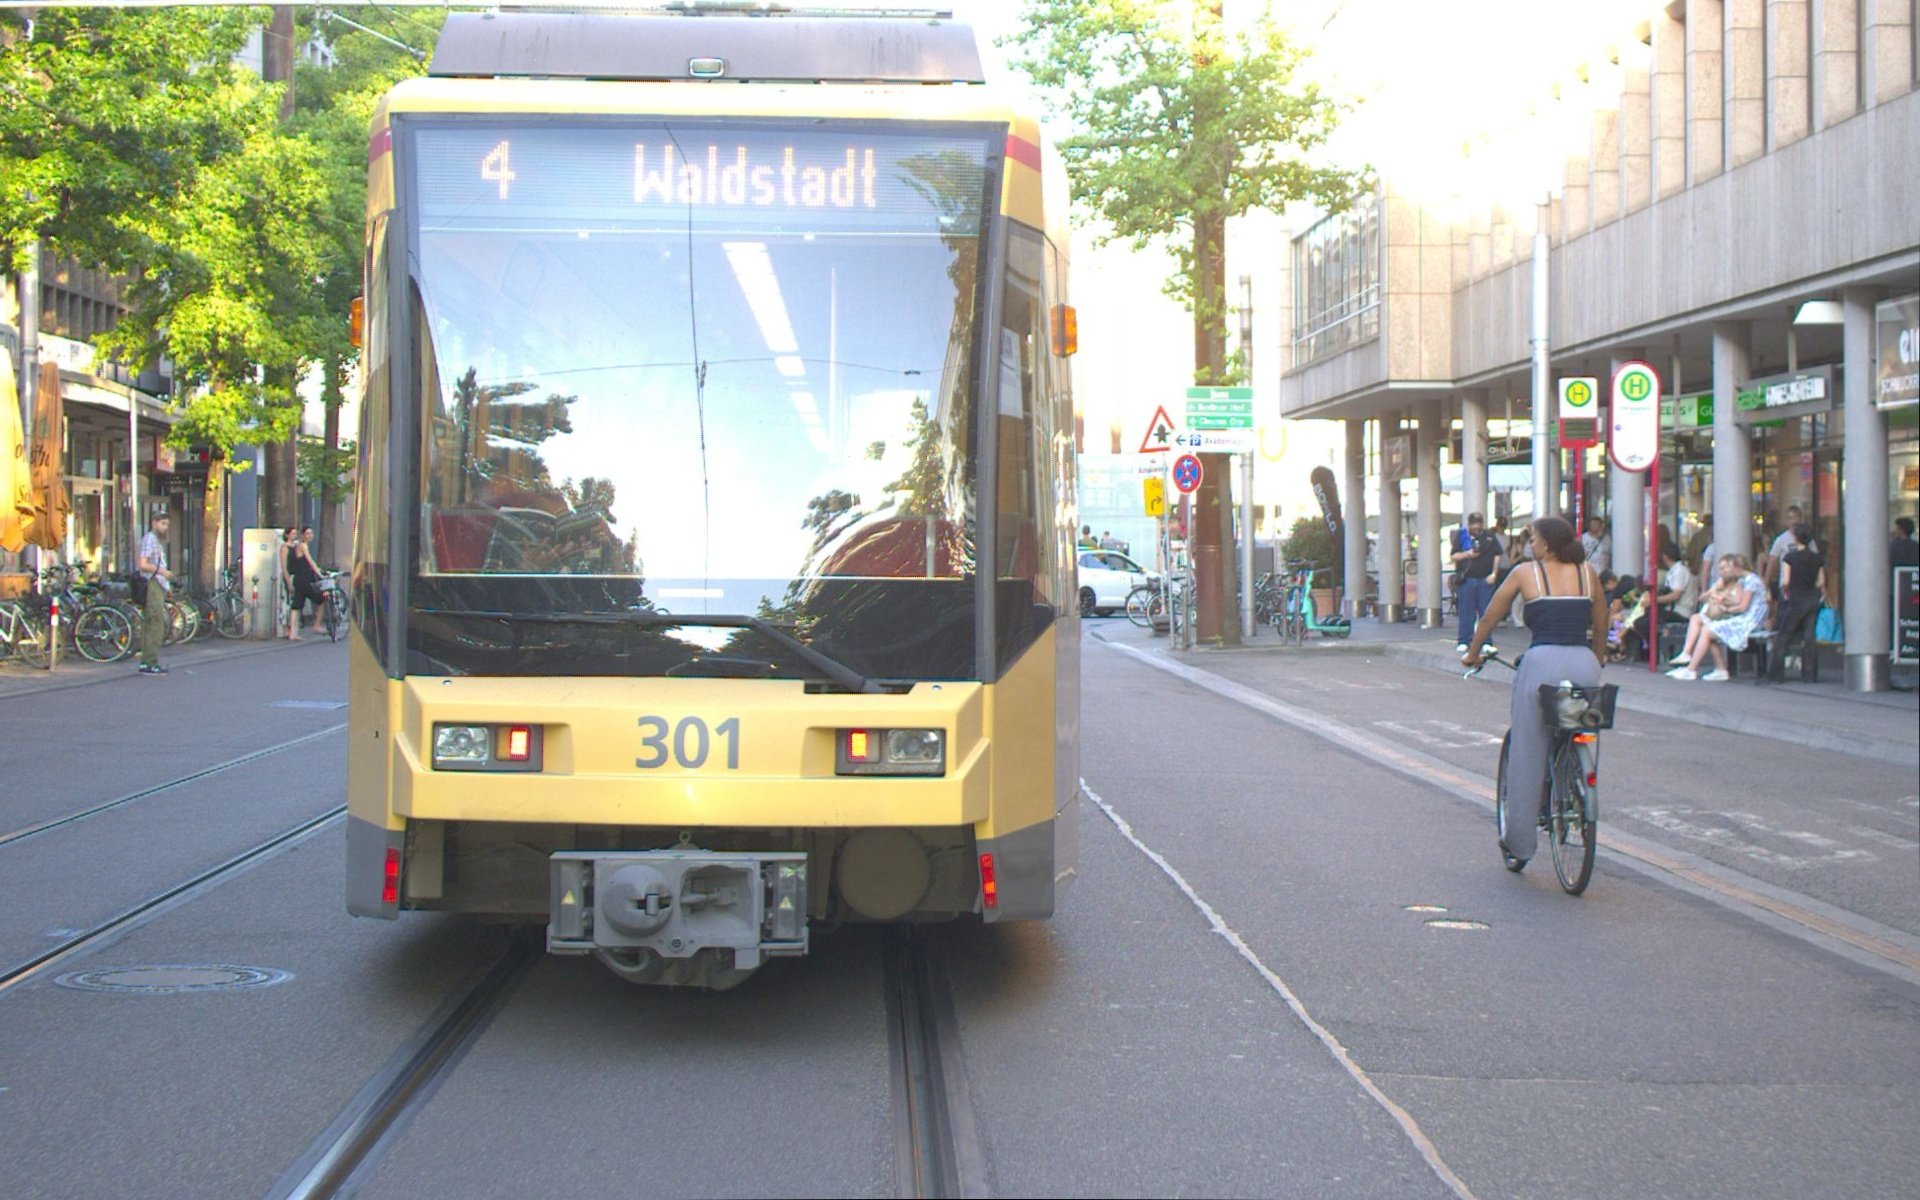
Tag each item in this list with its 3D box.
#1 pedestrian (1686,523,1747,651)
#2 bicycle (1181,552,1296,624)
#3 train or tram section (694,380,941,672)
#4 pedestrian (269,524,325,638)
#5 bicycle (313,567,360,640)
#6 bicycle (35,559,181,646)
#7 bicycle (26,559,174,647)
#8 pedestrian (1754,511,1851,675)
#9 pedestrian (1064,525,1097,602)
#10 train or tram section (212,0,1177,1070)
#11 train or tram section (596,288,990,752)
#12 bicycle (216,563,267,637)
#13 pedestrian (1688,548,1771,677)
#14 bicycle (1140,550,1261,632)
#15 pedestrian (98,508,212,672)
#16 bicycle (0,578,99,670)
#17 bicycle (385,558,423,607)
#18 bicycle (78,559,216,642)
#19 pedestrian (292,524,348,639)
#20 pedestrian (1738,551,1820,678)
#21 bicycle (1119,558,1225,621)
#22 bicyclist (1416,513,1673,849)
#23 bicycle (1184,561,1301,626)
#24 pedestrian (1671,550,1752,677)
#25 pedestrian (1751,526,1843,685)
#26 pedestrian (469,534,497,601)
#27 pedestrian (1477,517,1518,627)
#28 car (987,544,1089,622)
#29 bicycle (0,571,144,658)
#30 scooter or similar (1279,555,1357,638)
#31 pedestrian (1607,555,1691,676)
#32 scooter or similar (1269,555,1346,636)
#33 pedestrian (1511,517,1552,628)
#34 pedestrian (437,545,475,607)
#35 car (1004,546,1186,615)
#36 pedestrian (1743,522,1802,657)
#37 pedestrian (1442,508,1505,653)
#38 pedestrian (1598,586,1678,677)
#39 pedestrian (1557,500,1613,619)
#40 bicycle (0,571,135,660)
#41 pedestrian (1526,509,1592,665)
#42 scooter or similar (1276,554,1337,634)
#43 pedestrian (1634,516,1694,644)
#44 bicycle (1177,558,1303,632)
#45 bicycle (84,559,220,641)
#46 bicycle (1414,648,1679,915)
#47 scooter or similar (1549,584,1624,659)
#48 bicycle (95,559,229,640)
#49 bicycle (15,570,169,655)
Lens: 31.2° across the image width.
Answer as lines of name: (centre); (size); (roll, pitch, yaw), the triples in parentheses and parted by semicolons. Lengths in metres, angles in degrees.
pedestrian: (10.673, -0.188, 48.526); (0.663, 1.781, 0.719); (-1, 0, -1)
bicycle: (4.991, -0.217, 61.740); (1.914, 1.218, 0.763); (-2, 1, -6)
train or tram section: (-1.830, -0.980, 46.238); (2.800, 3.308, 14.510); (0, 1, -2)
pedestrian: (-9.934, -0.292, 51.531); (0.602, 1.693, 0.535); (1, 1, 28)
bicycle: (-9.289, 0.042, 51.223); (0.488, 1.041, 1.778); (1, 1, -4)
bicycle: (-11.118, 0.033, 44.907); (1.771, 1.067, 0.489); (2, 1, -7)
bicycle: (-11.085, 0.039, 44.330); (1.771, 1.067, 0.489); (2, 1, -7)
pedestrian: (9.379, -0.084, 38.294); (0.844, 1.791, 0.859); (-1, 0, -1)
pedestrian: (2.725, -0.823, 77.986); (0.718, 1.719, 0.709); (0, 0, 0)
train or tram section: (-0.981, -0.424, 17.268); (2.800, 3.308, 14.510); (0, 1, -2)
train or tram section: (-1.403, -0.705, 31.779); (2.800, 3.308, 14.510); (0, 1, -2)
bicycle: (-10.654, -0.007, 51.012); (0.488, 1.041, 1.778); (1, 1, -4)
pedestrian: (7.916, 0.123, 35.396); (0.718, 1.310, 0.524); (1, 0, 0)
bicycle: (4.113, -0.158, 58.865); (1.914, 1.328, 0.726); (-2, 1, -6)
pedestrian: (-8.921, -0.115, 38.103); (0.820, 1.786, 0.990); (0, 1, -45)
bicycle: (-10.479, 0.248, 38.095); (1.773, 0.962, 0.489); (2, 0, 16)
bicycle: (-13.152, -0.429, 81.370); (0.498, 1.104, 1.800); (0, 2, 4)
bicycle: (-11.192, 0.007, 47.367); (1.771, 1.067, 0.489); (2, 1, -7)
pedestrian: (-9.500, -0.281, 51.014); (0.602, 1.693, 0.535); (1, 1, 28)
pedestrian: (8.595, 0.148, 36.076); (0.718, 1.310, 0.532); (1, 0, 0)
bicycle: (3.878, -0.194, 63.050); (1.852, 1.105, 0.667); (-1, 1, -3)
bicyclist: (2.701, 0.360, 15.991); (0.997, 1.497, 0.857); (2, 1, -1)
bicycle: (5.005, -0.120, 60.995); (1.914, 1.074, 0.763); (-2, 1, -6)
pedestrian: (7.857, 0.139, 35.954); (0.718, 1.310, 0.532); (1, 0, 0)
pedestrian: (8.347, 0.050, 34.304); (0.724, 1.565, 0.736); (-1, 0, 1)
pedestrian: (-10.614, -0.716, 76.472); (0.603, 1.489, 0.555); (0, 0, -9)
pedestrian: (8.865, -0.463, 56.679); (0.539, 1.800, 0.604); (-1, 1, -2)
car: (1.440, -0.304, 64.751); (1.769, 1.404, 4.052); (1, 0, -1)
bicycle: (-10.713, 0.172, 41.151); (1.771, 0.986, 0.489); (2, 2, -7)
scooter or similar: (5.579, -0.064, 53.523); (1.112, 1.247, 0.497); (-2, 2, -31)
pedestrian: (7.920, 0.174, 39.524); (0.813, 1.376, 0.662); (1, 0, 0)
scooter or similar: (5.489, -0.081, 54.322); (1.187, 1.247, 0.393); (-2, 2, -30)
pedestrian: (9.408, -0.454, 56.592); (0.539, 1.800, 0.604); (-1, 1, -2)
pedestrian: (-11.752, -0.557, 80.152); (0.555, 1.429, 0.684); (0, 0, 37)
car: (2.879, -0.409, 72.861); (1.774, 1.404, 3.892); (0, 0, 42)
pedestrian: (10.516, -0.138, 44.509); (0.570, 1.725, 0.617); (-1, 1, -2)
pedestrian: (6.584, -0.252, 44.093); (0.668, 1.833, 0.708); (-1, 0, -2)
pedestrian: (7.927, 0.368, 40.211); (0.813, 1.039, 0.544); (1, 0, 0)
pedestrian: (8.838, -0.575, 48.603); (0.648, 1.655, 0.650); (-1, 1, -1)
bicycle: (-10.692, 0.177, 40.623); (1.771, 0.986, 0.489); (2, 2, -7)
pedestrian: (7.148, -0.157, 41.026); (0.639, 1.833, 0.668); (-1, 0, 0)
scooter or similar: (5.541, -0.101, 54.912); (0.393, 1.247, 1.189); (0, 2, 37)
pedestrian: (9.953, -0.288, 48.606); (0.663, 1.781, 0.719); (-1, 0, -1)
bicycle: (4.729, -0.088, 58.079); (1.995, 1.151, 0.726); (-2, 1, -6)
bicycle: (-11.259, 0.001, 47.911); (1.771, 1.067, 0.489); (2, 1, -7)
bicycle: (2.690, 0.807, 16.012); (0.815, 1.069, 2.113); (2, 1, -1)
scooter or similar: (7.630, 0.253, 41.855); (0.834, 0.881, 0.686); (2, 1, 13)
bicycle: (-11.265, -0.006, 48.564); (1.771, 1.067, 0.489); (2, 1, -7)
bicycle: (-10.738, 0.157, 42.563); (1.771, 0.986, 0.489); (2, 2, -7)
